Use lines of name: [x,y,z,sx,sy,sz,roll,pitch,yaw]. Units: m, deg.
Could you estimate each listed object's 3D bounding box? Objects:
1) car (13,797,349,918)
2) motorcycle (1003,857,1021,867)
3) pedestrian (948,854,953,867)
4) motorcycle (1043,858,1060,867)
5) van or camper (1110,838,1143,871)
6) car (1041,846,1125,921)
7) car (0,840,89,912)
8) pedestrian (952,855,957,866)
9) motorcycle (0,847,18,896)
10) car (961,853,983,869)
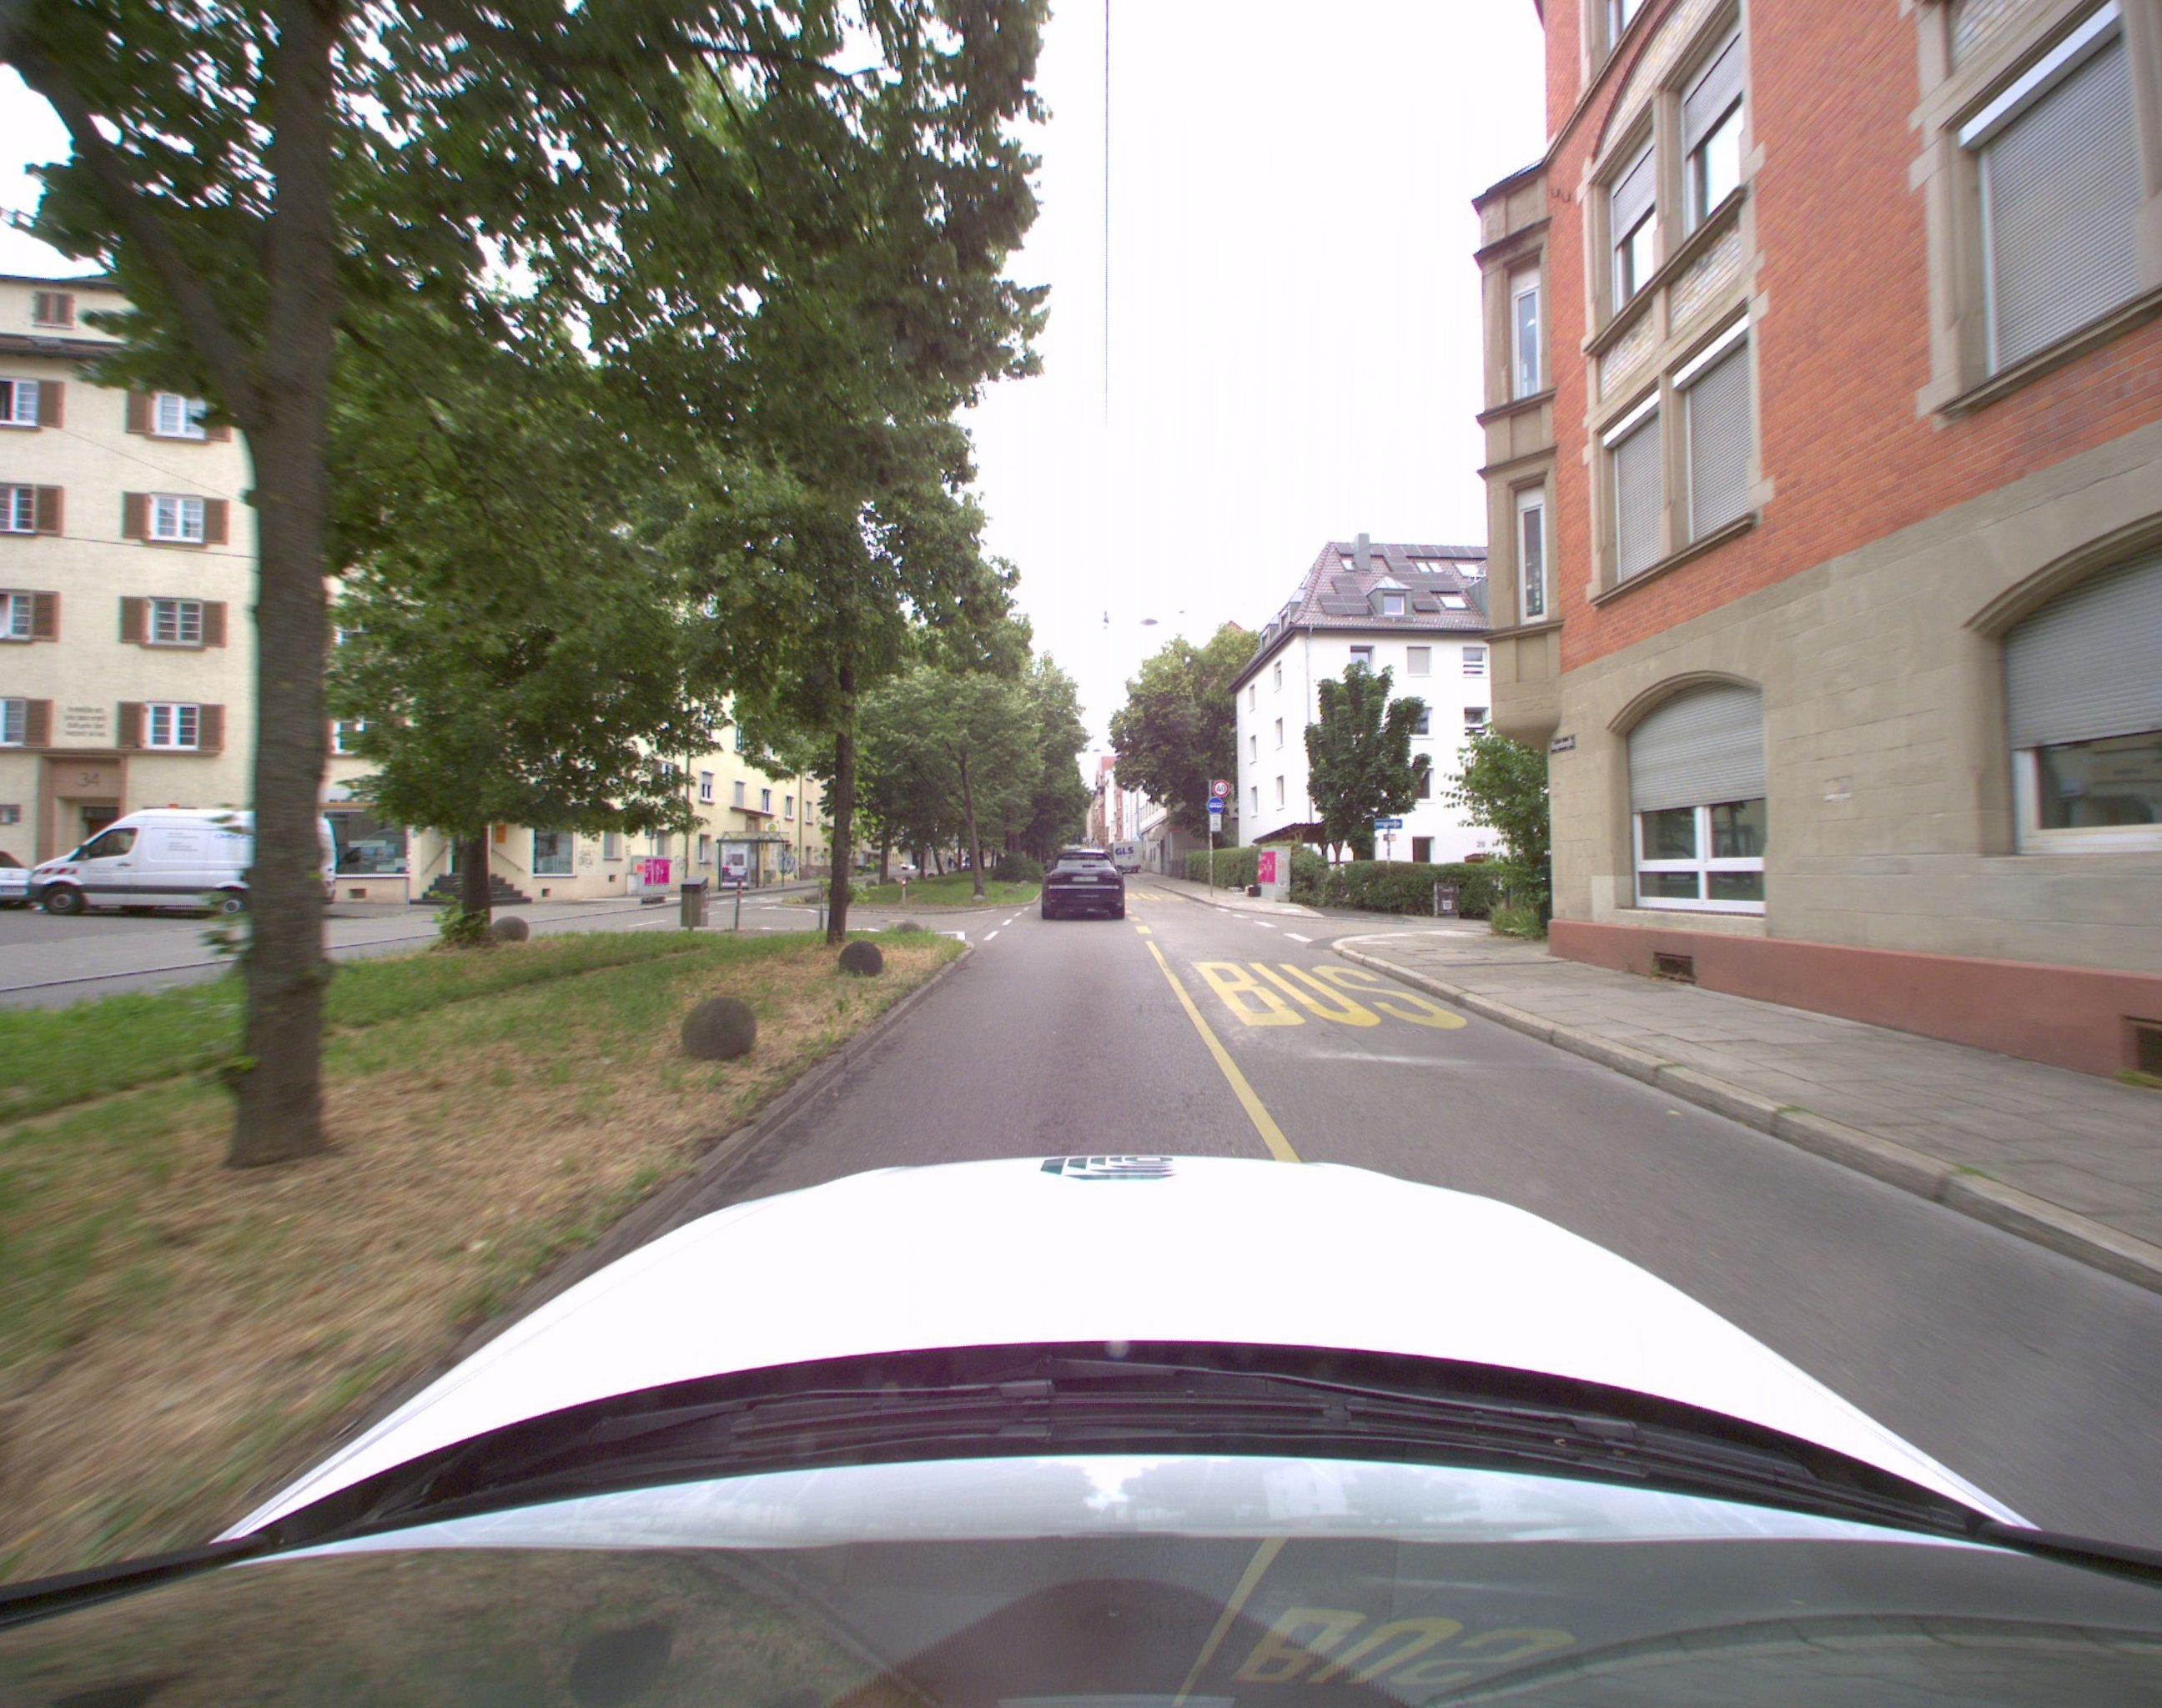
car: [-21.767,0.117,20.002,5.176,2.736,2.168,1,0,-12]
motorcycle: [-9.256,1.046,109.140,2.376,1.317,1.045,0,0,-3]
pedestrian: [-17.493,0.876,109.083,0.634,1.613,0.762,0,0,-9]
motorcycle: [-4.012,1.137,111.874,2.350,1.235,1.032,0,0,-3]
van or camper: [3.929,0.070,72.085,2.472,2.803,7.236,0,0,0]
car: [-0.040,0.671,20.464,1.899,1.666,4.131,0,0,-3]
car: [-27.234,0.448,19.076,4.761,1.636,1.991,1,-1,-13]
pedestrian: [-17.262,0.893,111.314,0.660,1.616,0.579,0,0,1]
motorcycle: [-30.073,0.469,21.883,1.858,1.334,0.682,0,0,-9]
car: [-12.862,0.779,96.359,1.944,1.628,4.361,-7,0,-2]
